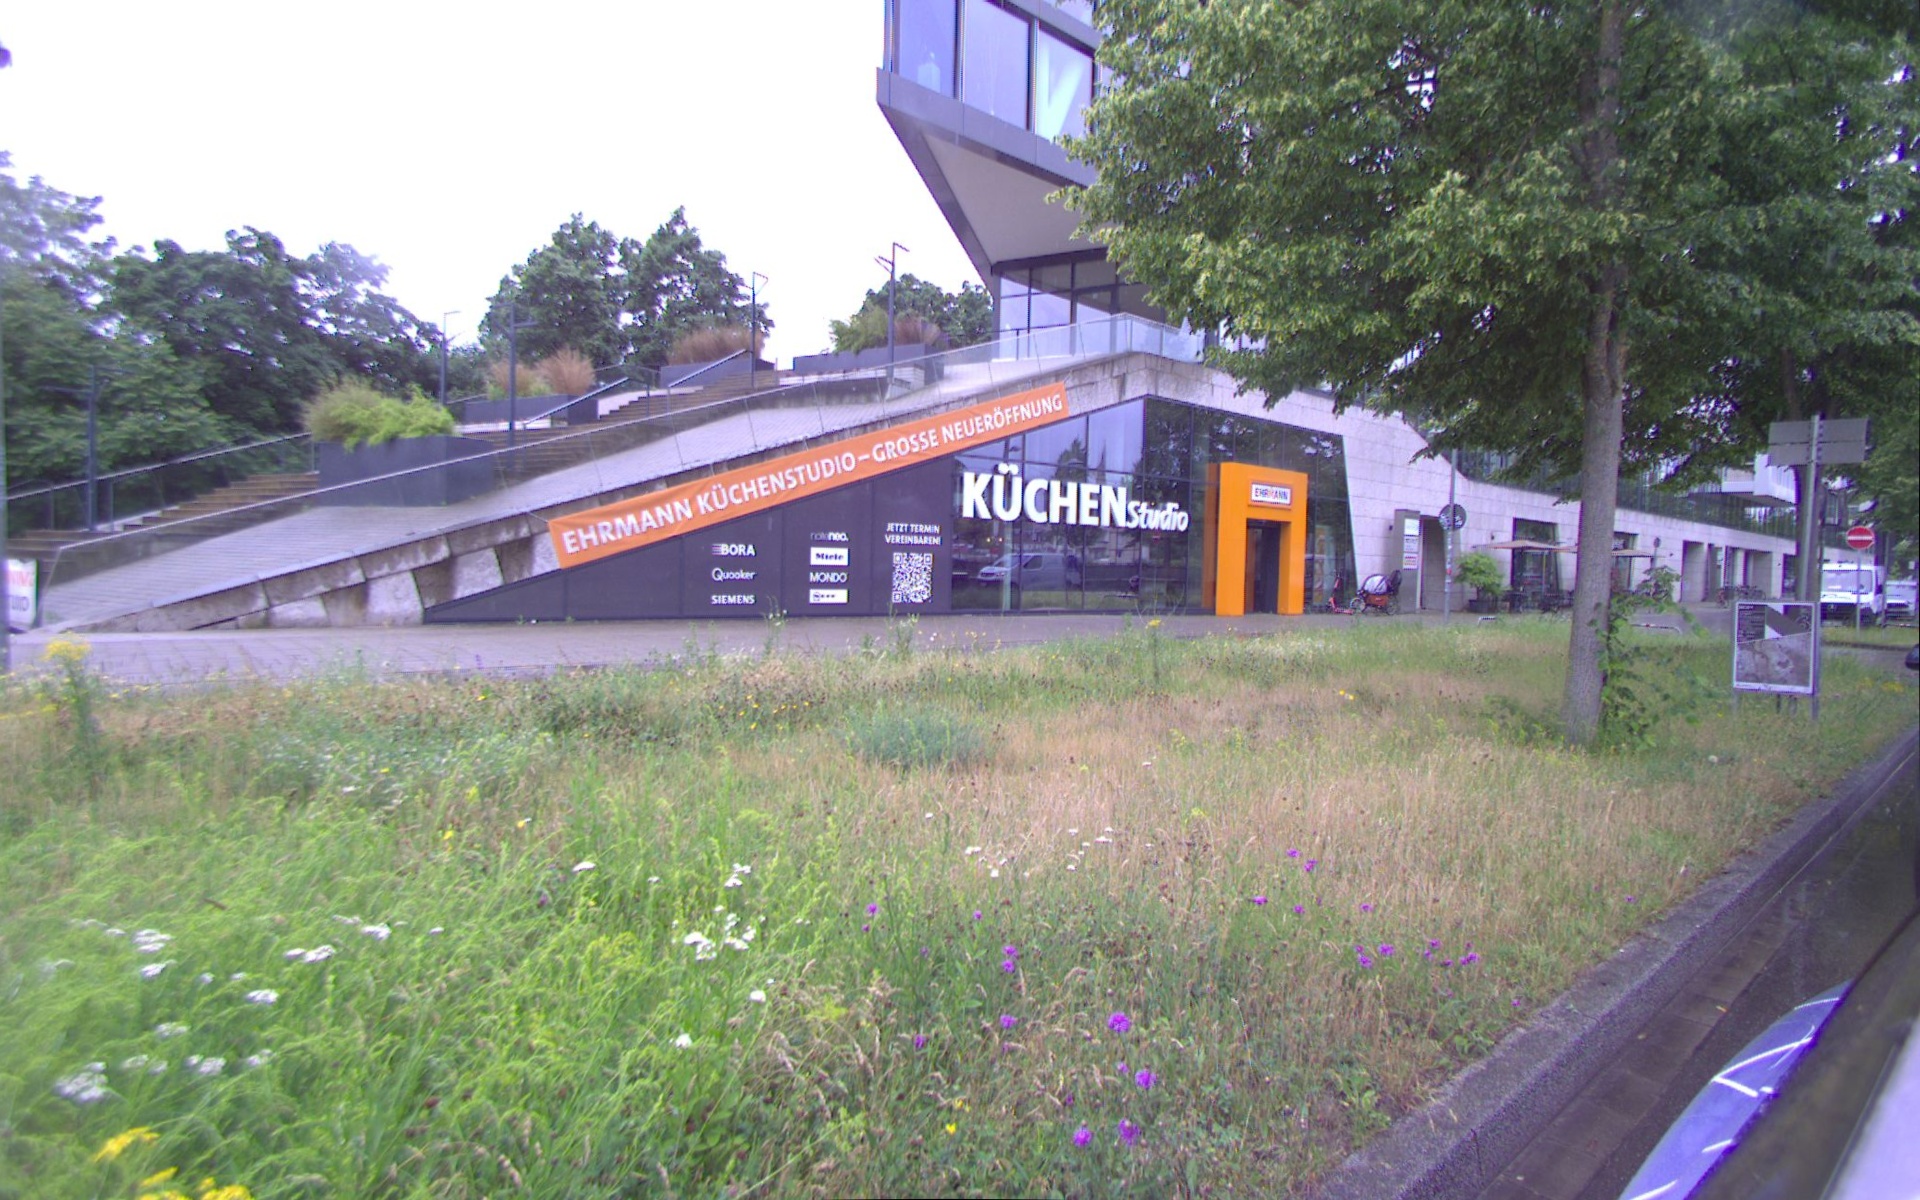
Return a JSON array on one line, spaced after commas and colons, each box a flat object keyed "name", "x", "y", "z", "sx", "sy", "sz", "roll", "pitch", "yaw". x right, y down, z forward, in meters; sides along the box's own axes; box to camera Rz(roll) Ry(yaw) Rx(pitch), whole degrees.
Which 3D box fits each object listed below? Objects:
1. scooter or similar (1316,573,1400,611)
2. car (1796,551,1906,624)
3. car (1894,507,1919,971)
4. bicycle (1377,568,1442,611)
[{"name": "scooter or similar", "x": 12.198, "y": -0.255, "z": 30.978, "sx": 2.560, "sy": 1.113, "sz": 0.814, "roll": 0, "pitch": 0, "yaw": -23}, {"name": "car", "x": 29.609, "y": -0.412, "z": 33.580, "sx": 5.008, "sy": 2.229, "sz": 2.083, "roll": -1, "pitch": 0, "yaw": -41}, {"name": "car", "x": 5.857, "y": 0.567, "z": 4.594, "sx": 4.306, "sy": 1.769, "sz": 1.915, "roll": 1, "pitch": -1, "yaw": -41}, {"name": "bicycle", "x": 14.550, "y": -0.343, "z": 32.729, "sx": 2.650, "sy": 1.364, "sz": 0.882, "roll": -1, "pitch": 0, "yaw": -41}]
